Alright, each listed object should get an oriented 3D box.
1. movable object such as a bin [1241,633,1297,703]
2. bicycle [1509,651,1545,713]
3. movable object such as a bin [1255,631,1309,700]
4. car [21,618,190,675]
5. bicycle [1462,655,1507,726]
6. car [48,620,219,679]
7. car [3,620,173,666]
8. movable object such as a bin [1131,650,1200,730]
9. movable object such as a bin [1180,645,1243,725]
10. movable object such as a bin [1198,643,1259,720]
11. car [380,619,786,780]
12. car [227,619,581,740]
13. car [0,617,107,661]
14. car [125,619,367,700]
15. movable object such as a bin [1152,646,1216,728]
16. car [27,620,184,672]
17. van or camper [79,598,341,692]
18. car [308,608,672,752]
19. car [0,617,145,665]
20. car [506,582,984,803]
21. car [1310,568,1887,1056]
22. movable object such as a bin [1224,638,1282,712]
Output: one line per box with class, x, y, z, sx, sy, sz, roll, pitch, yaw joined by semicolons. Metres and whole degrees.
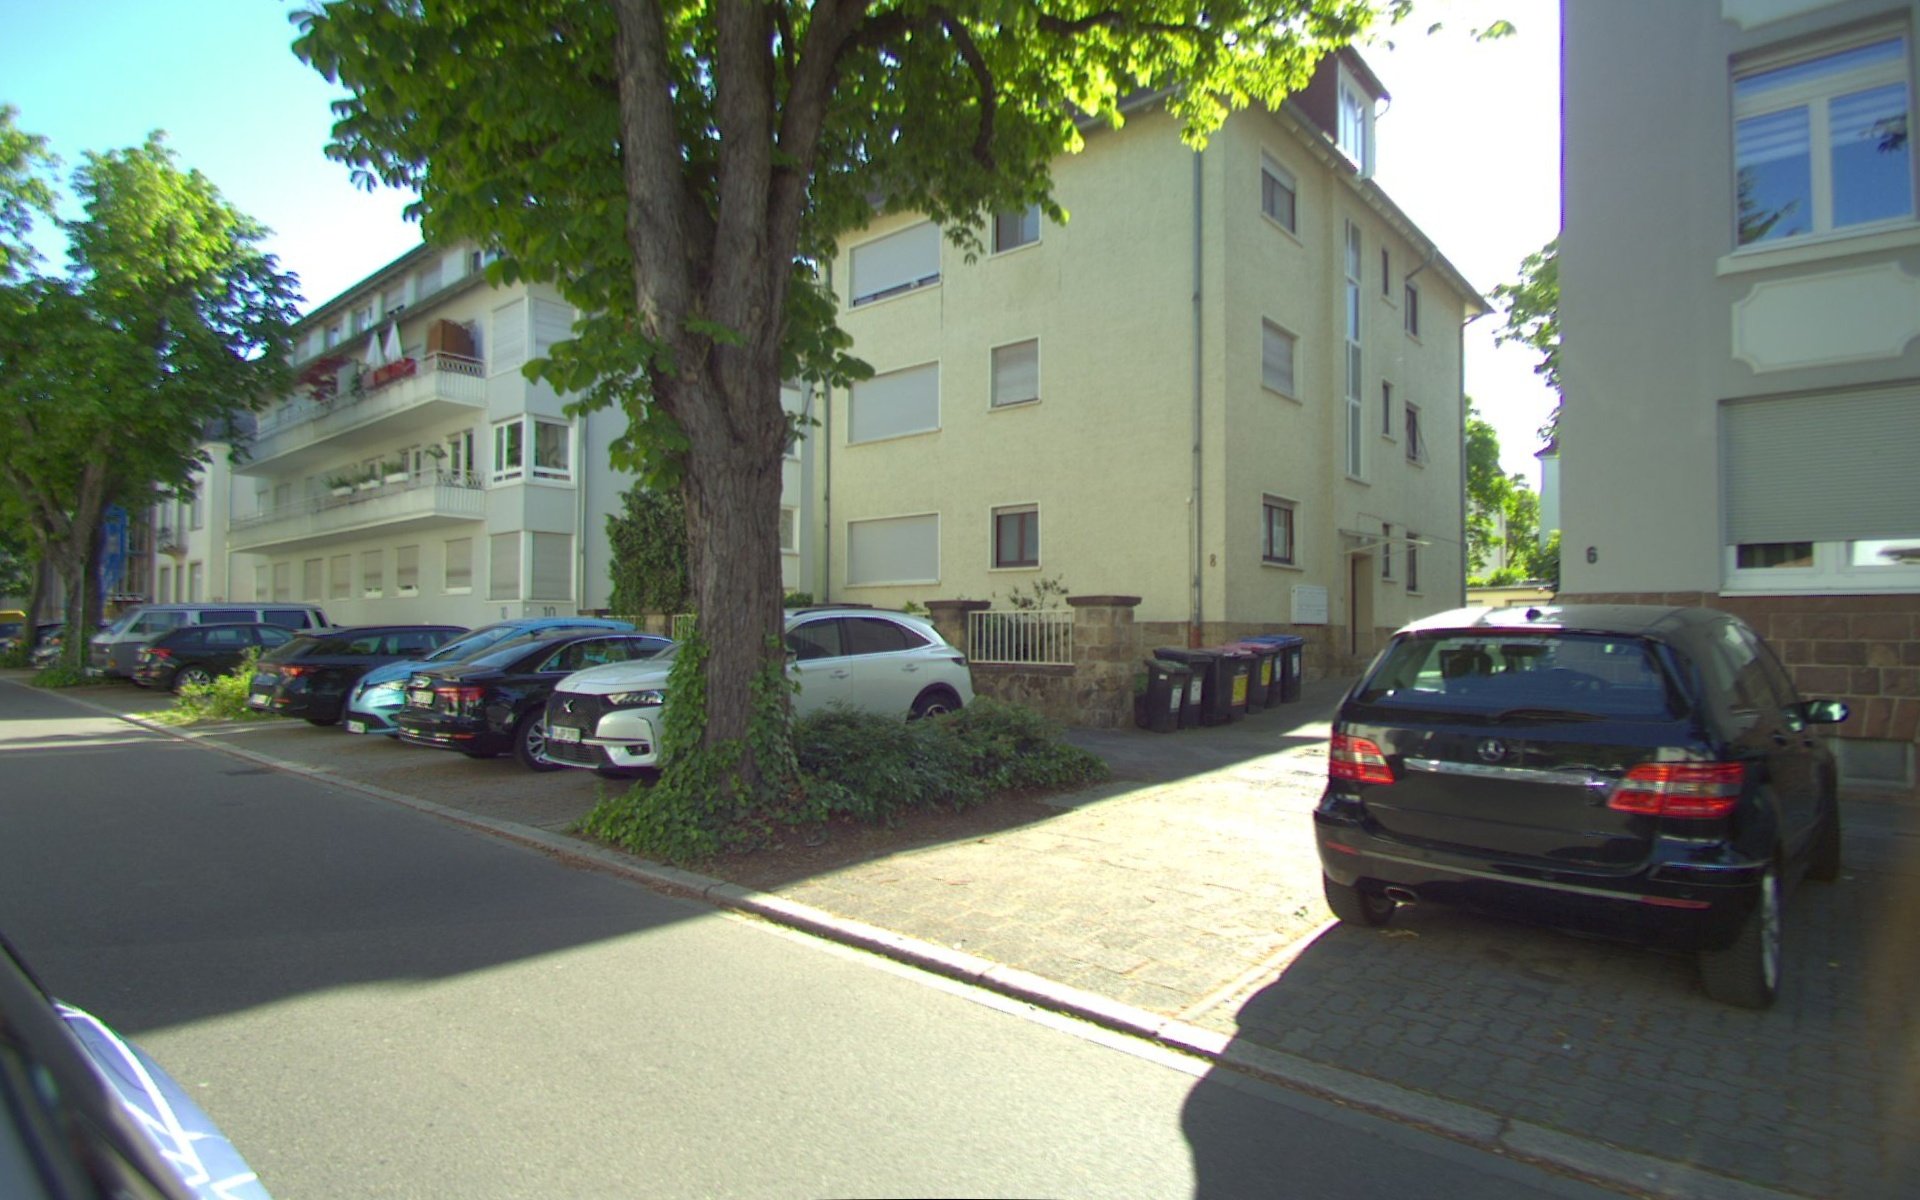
movable object such as a bin;4.903;1.066;16.067;0.705;1.056;0.525;0;1;41
bicycle;10.494;1.498;18.707;0.304;1.022;1.604;0;1;40
movable object such as a bin;5.264;1.059;16.555;0.705;1.056;0.525;0;1;41
car;-24.915;1.306;29.584;1.710;1.474;3.604;-1;0;43
bicycle;8.405;1.424;16.198;0.304;0.988;1.604;0;1;40
car;-22.813;1.313;28.007;1.797;1.469;3.441;-1;0;42
car;-29.517;1.434;34.367;1.711;1.452;4.145;-1;-2;39
movable object such as a bin;2.732;1.177;13.446;0.705;0.983;0.578;0;1;41
movable object such as a bin;3.560;1.182;14.339;0.705;1.056;0.525;0;1;41
movable object such as a bin;3.936;1.175;14.843;0.705;1.056;0.525;0;1;41
car;-4.041;0.983;11.377;1.696;1.479;3.946;-1;-2;40
car;-7.972;1.064;14.838;1.860;1.510;4.145;-1;-2;39
car;-35.601;1.478;38.987;1.827;1.525;3.841;-1;1;32
car;-14.878;1.163;21.239;1.662;1.510;3.902;-1;-1;43
movable object such as a bin;3.096;1.187;13.987;0.705;1.056;0.525;0;1;41
car;-26.589;1.399;31.566;1.707;1.431;3.448;0;0;36
van or camper;-16.898;0.975;22.991;1.963;1.929;4.450;-1;-2;41
car;-6.055;0.960;13.403;1.876;1.604;3.947;-1;-2;39
car;-32.317;1.451;36.271;1.831;1.619;4.544;-1;-2;38
car;-1.855;0.826;9.892;1.822;1.665;4.339;-3;-5;42
car;3.572;0.699;5.330;1.848;1.587;3.820;-1;-1;43
movable object such as a bin;4.474;1.137;15.471;0.705;1.056;0.525;0;1;41
